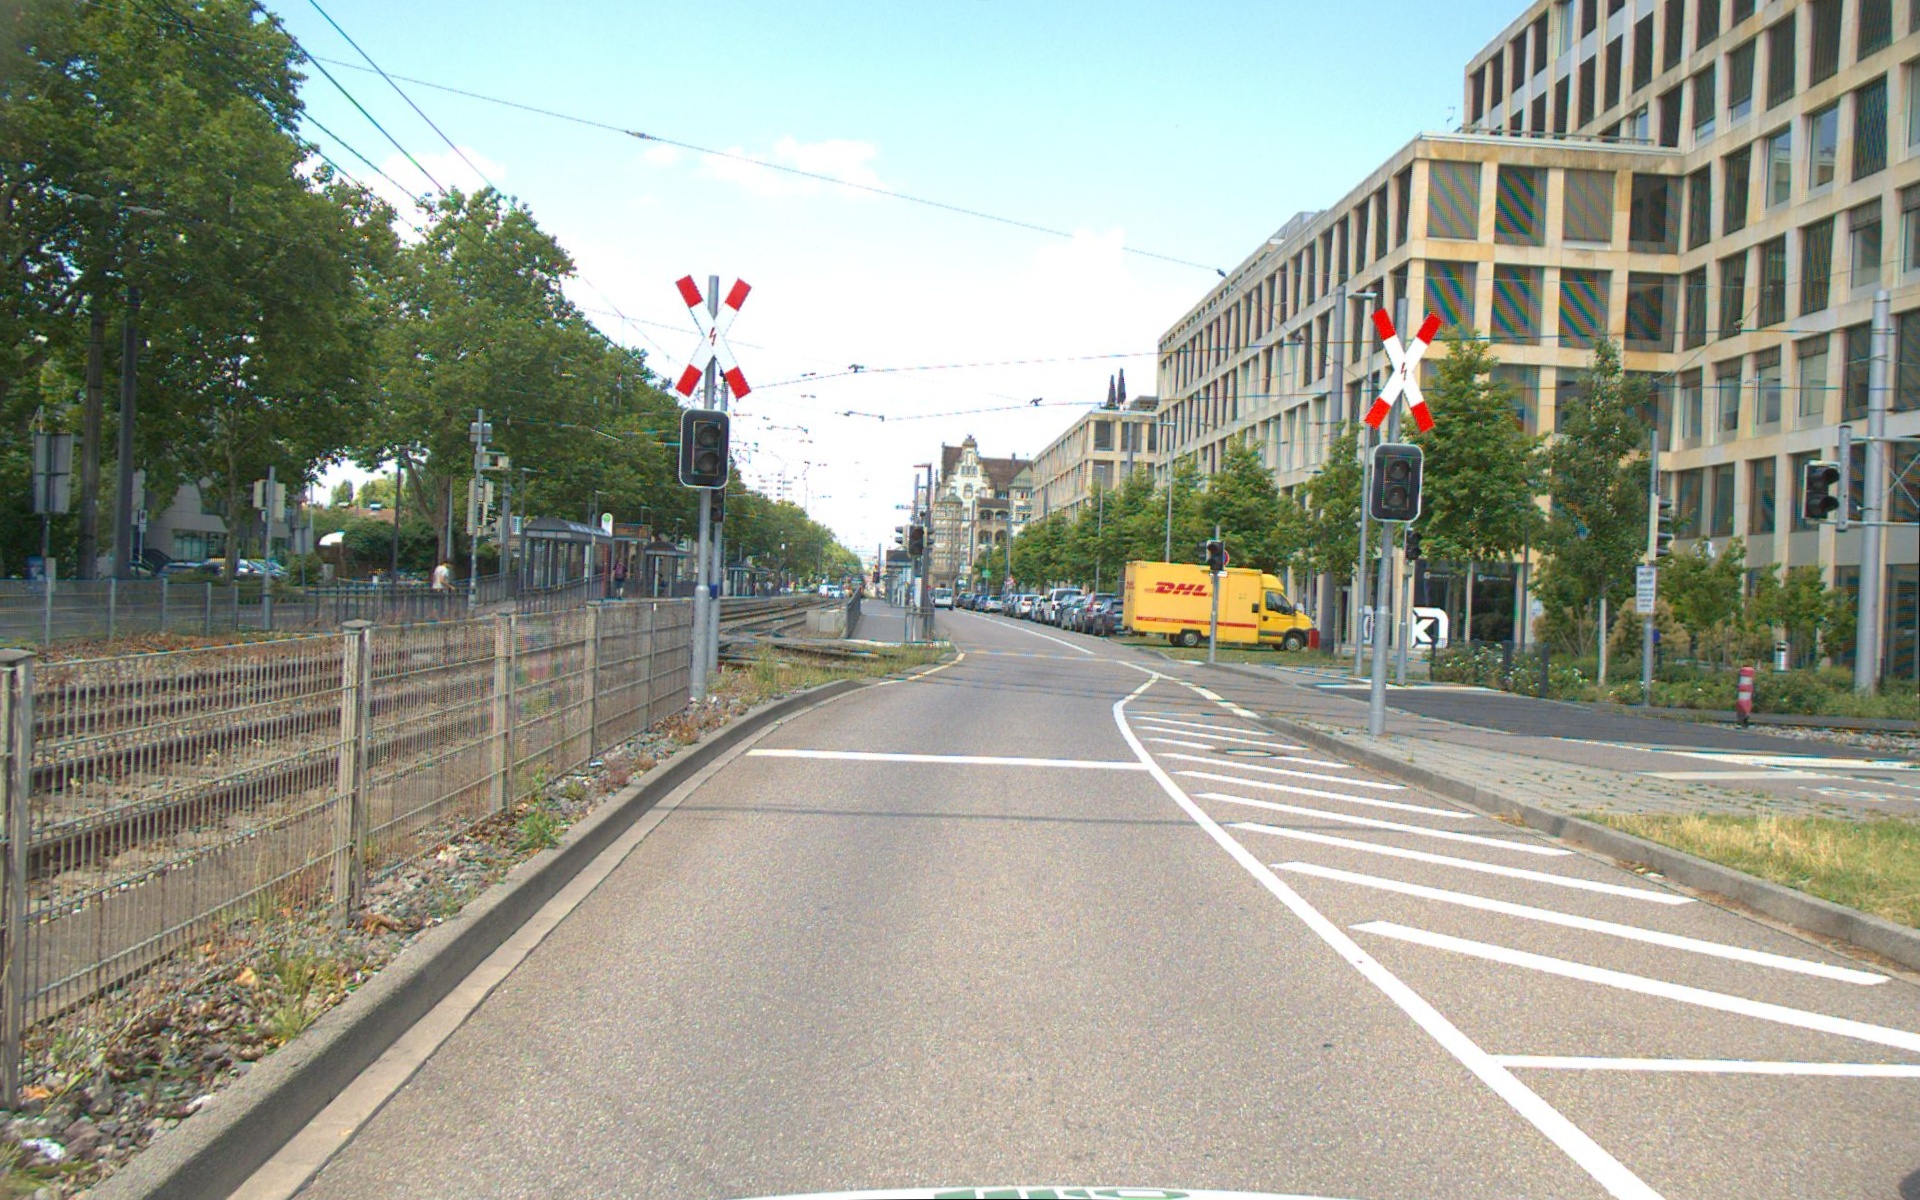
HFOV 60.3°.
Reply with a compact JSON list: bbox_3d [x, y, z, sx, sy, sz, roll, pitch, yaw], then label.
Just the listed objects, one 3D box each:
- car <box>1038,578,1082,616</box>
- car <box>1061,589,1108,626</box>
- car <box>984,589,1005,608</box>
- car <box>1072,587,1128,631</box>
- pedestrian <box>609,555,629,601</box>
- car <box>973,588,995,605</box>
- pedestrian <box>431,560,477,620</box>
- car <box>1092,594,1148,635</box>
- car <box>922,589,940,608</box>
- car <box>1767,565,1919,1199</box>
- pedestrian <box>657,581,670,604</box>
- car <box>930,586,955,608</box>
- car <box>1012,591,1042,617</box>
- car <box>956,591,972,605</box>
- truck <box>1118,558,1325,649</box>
[{"bbox_3d":[5.352,-0.173,88.786,1.844,1.973,4.841,0,1,-3],"label":"car"},{"bbox_3d":[5.795,0.318,77.415,1.687,1.648,3.858,2,0,-3],"label":"car"},{"bbox_3d":[2.943,-0.158,142.185,1.559,1.485,3.612,3,1,-2],"label":"car"},{"bbox_3d":[6.065,0.373,72.081,1.734,1.798,4.837,2,0,-3],"label":"car"},{"bbox_3d":[-13.926,-0.906,67.606,0.692,1.877,0.864,0,0,-4],"label":"pedestrian"},{"bbox_3d":[2.189,-0.358,153.620,1.560,1.459,4.103,4,0,-5],"label":"car"},{"bbox_3d":[-11.658,-0.230,38.155,0.845,1.367,0.922,0,0,-6],"label":"pedestrian"},{"bbox_3d":[6.419,0.573,66.684,1.657,1.531,4.066,2,0,-3],"label":"car"},{"bbox_3d":[-3.247,-0.196,186.821,1.953,2.049,3.998,0,0,-2],"label":"car"},{"bbox_3d":[3.259,0.727,2.424,1.744,1.567,4.417,0,1,-4],"label":"car"},{"bbox_3d":[-16.343,-0.417,91.234,0.541,1.291,0.767,2,0,-1],"label":"pedestrian"},{"bbox_3d":[-1.521,-0.246,140.298,1.832,1.777,3.997,3,0,-3],"label":"car"},{"bbox_3d":[4.416,0.233,109.475,1.652,1.634,4.149,0,1,-3],"label":"car"},{"bbox_3d":[0.400,-0.187,180.222,1.415,1.495,4.089,-1,1,-5],"label":"car"},{"bbox_3d":[9.059,0.108,57.653,6.673,2.917,2.452,2,0,-5],"label":"truck"}]
